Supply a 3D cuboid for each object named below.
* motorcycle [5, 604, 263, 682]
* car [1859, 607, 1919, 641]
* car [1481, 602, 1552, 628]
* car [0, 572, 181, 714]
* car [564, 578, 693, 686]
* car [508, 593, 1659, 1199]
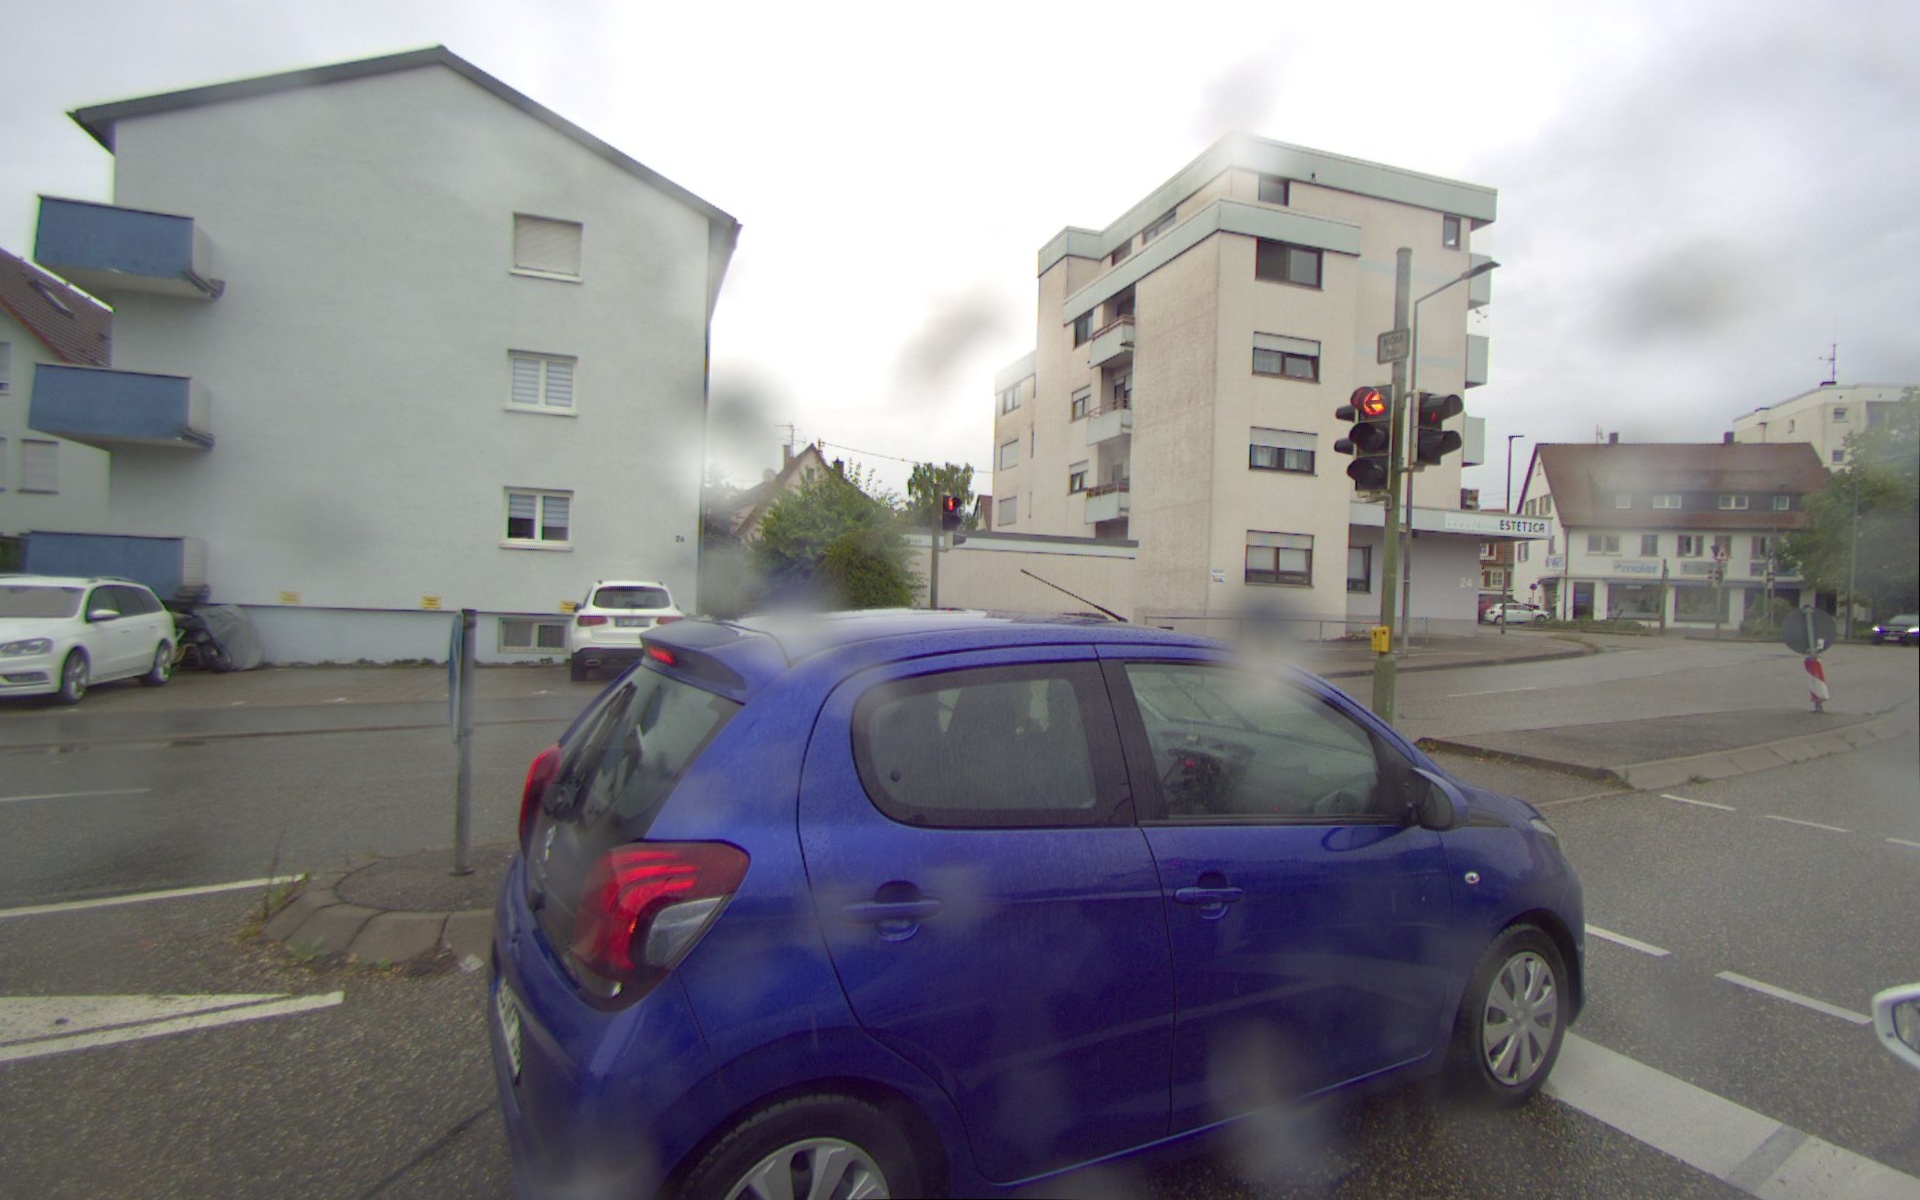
[{"bbox_3d":[-13.110,0.636,16.070,0.864,1.115,3.113,2,1,43],"label":"motorcycle"},{"bbox_3d":[42.338,1.062,45.151,3.785,1.439,1.770,1,0,-30],"label":"car"},{"bbox_3d":[38.093,1.013,68.833,3.887,1.593,1.873,1,1,17],"label":"car"},{"bbox_3d":[-11.359,0.441,12.298,1.878,1.493,4.208,1,0,-24],"label":"car"},{"bbox_3d":[-5.894,0.498,17.821,1.909,1.658,4.446,1,0,-19],"label":"car"},{"bbox_3d":[0.444,0.735,3.104,3.231,1.429,1.571,1,1,-30],"label":"car"}]
